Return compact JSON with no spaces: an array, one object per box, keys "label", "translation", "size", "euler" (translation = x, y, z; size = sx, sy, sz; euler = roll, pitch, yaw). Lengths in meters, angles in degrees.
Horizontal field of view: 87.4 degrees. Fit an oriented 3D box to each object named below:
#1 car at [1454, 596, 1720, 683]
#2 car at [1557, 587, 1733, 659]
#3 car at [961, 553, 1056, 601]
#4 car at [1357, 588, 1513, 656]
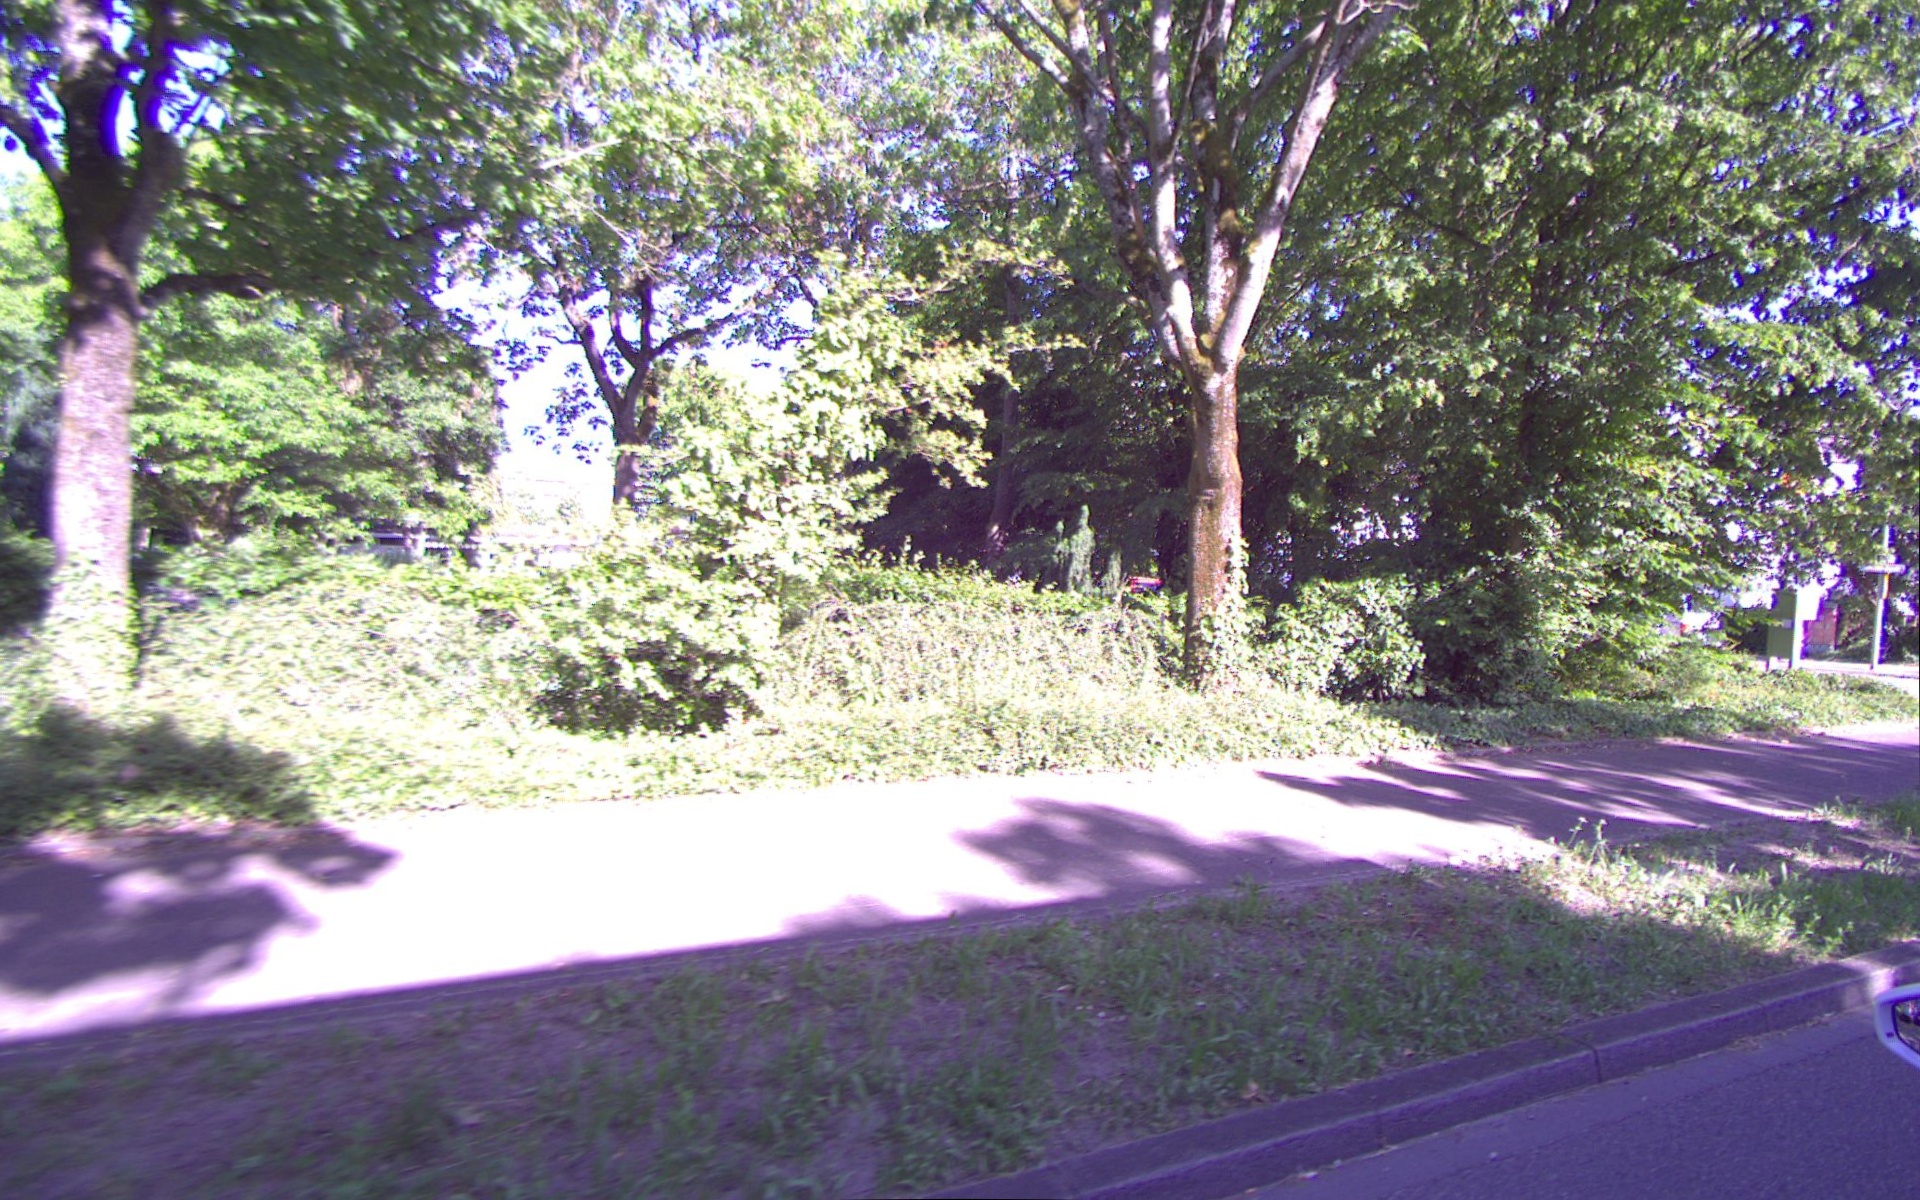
[{"label":"car","translation":[11.897,0.688,19.382],"size":[1.655,1.413,4.097],"euler":[1,1,-24]},{"label":"car","translation":[20.443,0.652,30.176],"size":[1.655,1.990,4.097],"euler":[1,0,-24]},{"label":"car","translation":[2.232,-1.020,46.049],"size":[4.067,1.990,1.667],"euler":[1,0,-26]},{"label":"car","translation":[12.488,0.583,26.409],"size":[3.808,1.674,1.667],"euler":[2,0,-26]}]
